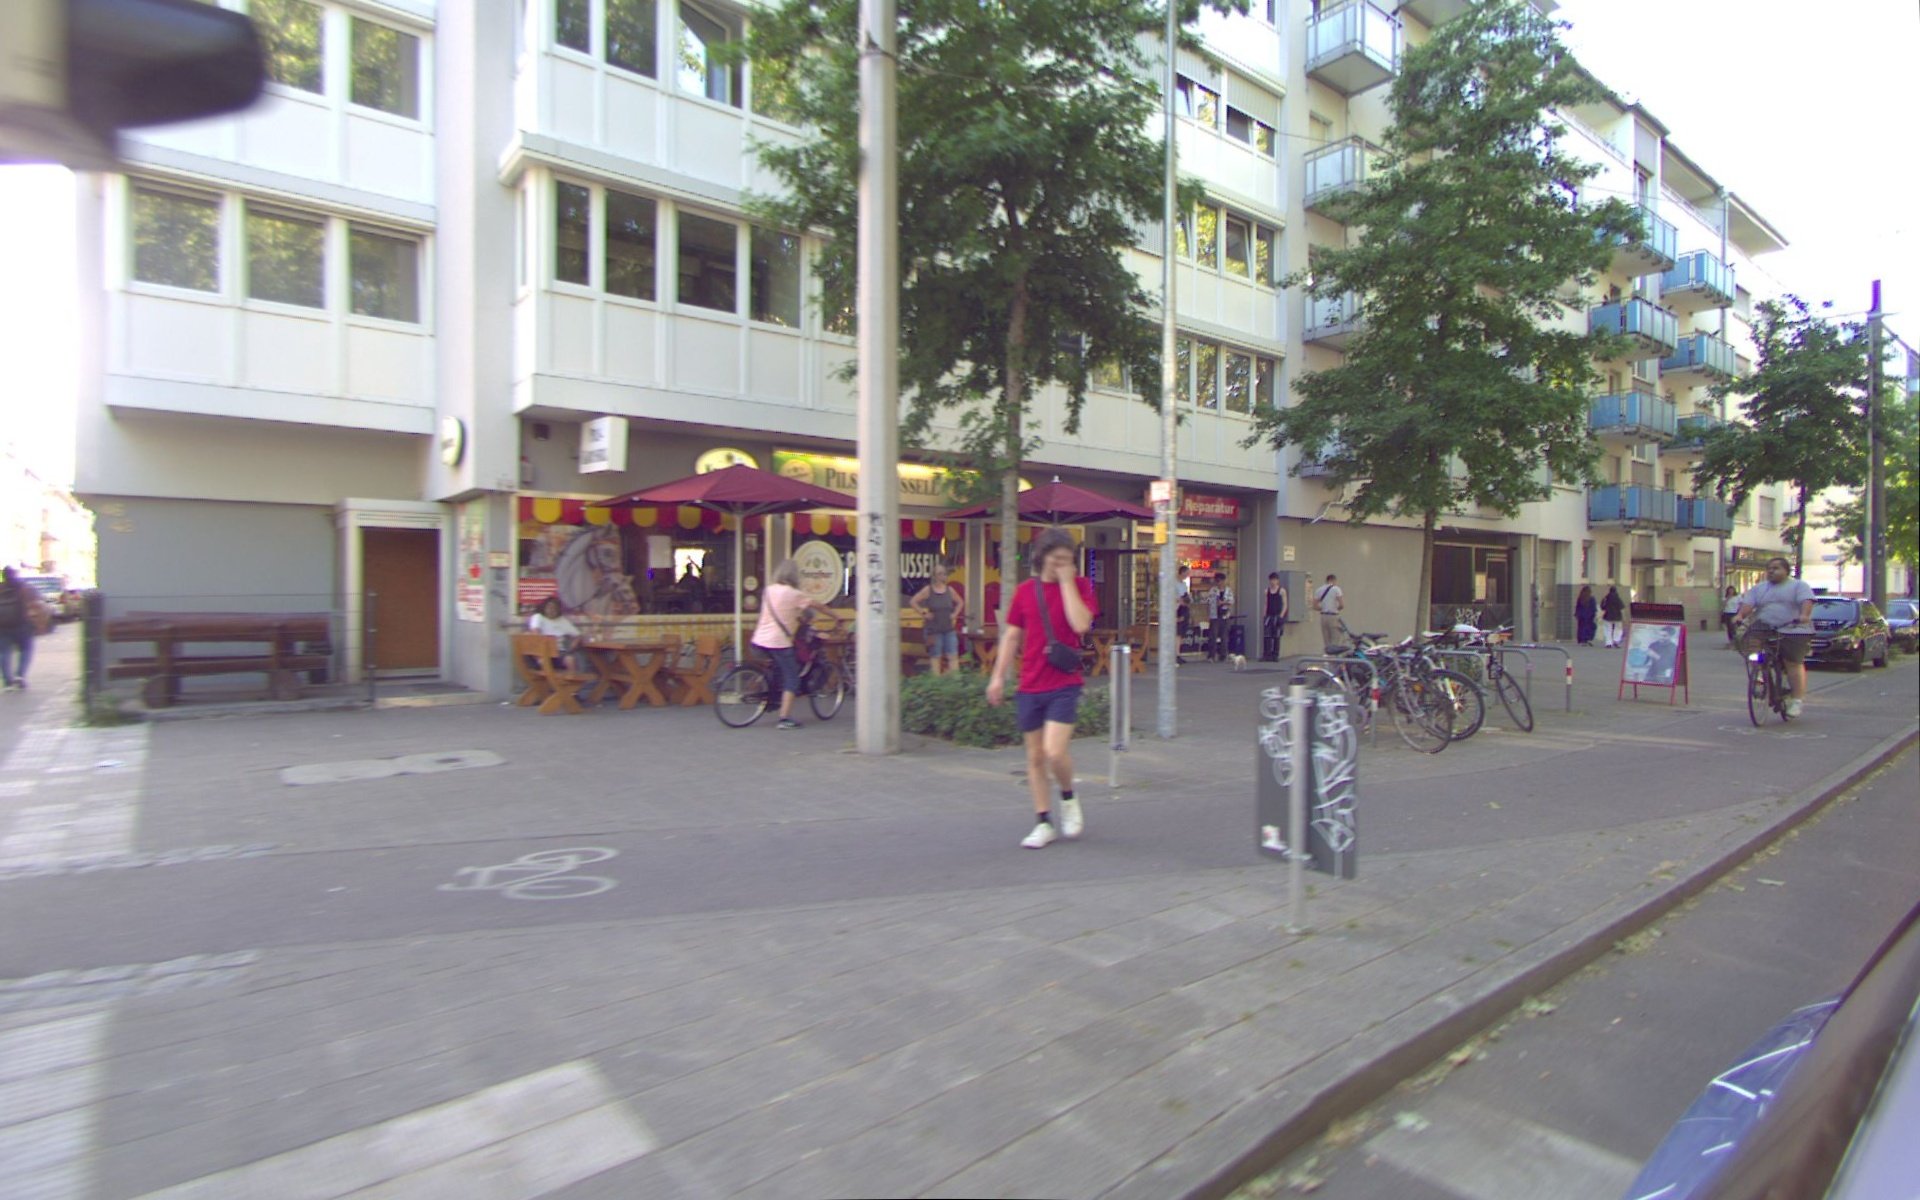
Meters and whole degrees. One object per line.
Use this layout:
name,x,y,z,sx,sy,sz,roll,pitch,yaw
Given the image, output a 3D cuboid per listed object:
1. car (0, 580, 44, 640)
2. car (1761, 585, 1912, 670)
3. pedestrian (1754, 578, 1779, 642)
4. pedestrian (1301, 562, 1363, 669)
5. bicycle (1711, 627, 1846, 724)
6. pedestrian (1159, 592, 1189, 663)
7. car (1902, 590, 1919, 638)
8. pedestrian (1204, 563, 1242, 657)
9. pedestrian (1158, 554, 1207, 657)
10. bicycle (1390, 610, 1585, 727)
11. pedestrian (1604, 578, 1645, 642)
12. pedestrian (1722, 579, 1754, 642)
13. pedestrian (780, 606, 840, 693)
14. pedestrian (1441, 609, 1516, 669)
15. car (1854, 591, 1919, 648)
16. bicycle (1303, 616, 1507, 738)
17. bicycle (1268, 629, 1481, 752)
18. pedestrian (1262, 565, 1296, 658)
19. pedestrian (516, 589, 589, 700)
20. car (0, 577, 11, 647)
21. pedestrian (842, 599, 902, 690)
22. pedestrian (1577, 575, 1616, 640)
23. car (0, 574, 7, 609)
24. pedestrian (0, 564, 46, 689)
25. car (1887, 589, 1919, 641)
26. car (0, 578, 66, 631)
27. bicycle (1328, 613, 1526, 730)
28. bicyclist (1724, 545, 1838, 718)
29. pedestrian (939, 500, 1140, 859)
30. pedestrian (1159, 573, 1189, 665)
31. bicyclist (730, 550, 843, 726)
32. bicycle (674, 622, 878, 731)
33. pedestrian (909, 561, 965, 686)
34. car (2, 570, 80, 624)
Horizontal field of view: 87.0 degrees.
car,-24.737,0.257,25.579,1.829,1.436,4.000,-1,0,-34
car,19.397,0.518,22.342,4.251,1.607,1.764,-1,4,-39
pedestrian,23.921,0.281,30.005,0.652,1.875,0.476,0,0,-42
pedestrian,6.514,0.261,17.727,0.978,1.807,0.591,0,-1,-40
bicycle,9.282,0.812,11.457,1.904,0.949,0.790,-1,0,-39
pedestrian,3.954,0.502,18.705,0.501,1.292,0.623,-1,0,14
car,33.606,0.489,34.357,4.054,1.556,1.791,0,3,-39
pedestrian,5.184,0.199,19.993,0.620,1.828,0.526,-1,0,5
pedestrian,4.374,0.104,19.905,0.776,1.979,0.508,0,-1,-29
bicycle,5.655,0.692,10.944,0.516,1.114,1.819,0,1,-39
pedestrian,17.730,0.260,27.002,0.854,1.658,0.643,0,2,-41
pedestrian,23.520,0.310,30.585,0.530,1.875,0.663,0,0,-40
pedestrian,-1.964,0.635,13.267,0.513,1.092,0.643,0,0,-40
pedestrian,9.336,0.686,18.250,0.982,1.040,0.661,-1,0,-2
car,27.505,0.526,29.526,3.822,1.500,1.625,0,3,-42
bicycle,4.434,0.723,10.185,1.815,1.114,0.490,-1,0,44
bicycle,3.802,0.790,9.427,0.473,1.007,1.818,0,0,-40
pedestrian,6.390,0.226,20.252,0.480,1.819,0.432,0,-1,-40
pedestrian,-4.981,0.526,12.368,0.702,1.303,0.537,0,0,-37
car,-21.934,0.281,21.562,1.927,1.575,4.000,-1,1,-35
pedestrian,-1.206,0.592,13.821,0.513,1.190,0.660,0,0,-40
pedestrian,17.295,0.191,27.509,0.918,1.698,0.597,0,3,-41
car,-58.285,-0.480,60.291,1.965,2.039,3.995,-1,0,-40
pedestrian,-12.303,0.343,13.067,0.633,1.581,0.553,-1,0,-34
car,30.521,0.467,31.936,2.829,1.556,1.448,0,2,-39
car,-27.792,0.144,29.593,1.962,1.469,4.000,-1,0,-34
bicycle,4.816,0.699,10.531,1.815,1.114,0.474,-1,0,44
bicyclist,9.322,0.337,11.493,1.079,1.854,0.769,0,0,-38
pedestrian,0.480,0.393,5.659,0.867,1.780,1.041,-1,0,20
pedestrian,3.925,0.343,18.580,0.500,1.649,0.516,-1,0,14
bicyclist,-1.806,0.373,10.540,0.947,1.739,0.679,0,0,-36
bicycle,-1.876,0.747,10.494,1.984,0.975,0.679,-1,0,-37
pedestrian,-0.304,0.315,14.053,0.667,1.680,0.813,-1,0,6
car,-35.966,-0.112,39.697,1.706,1.971,4.226,-1,0,-34
